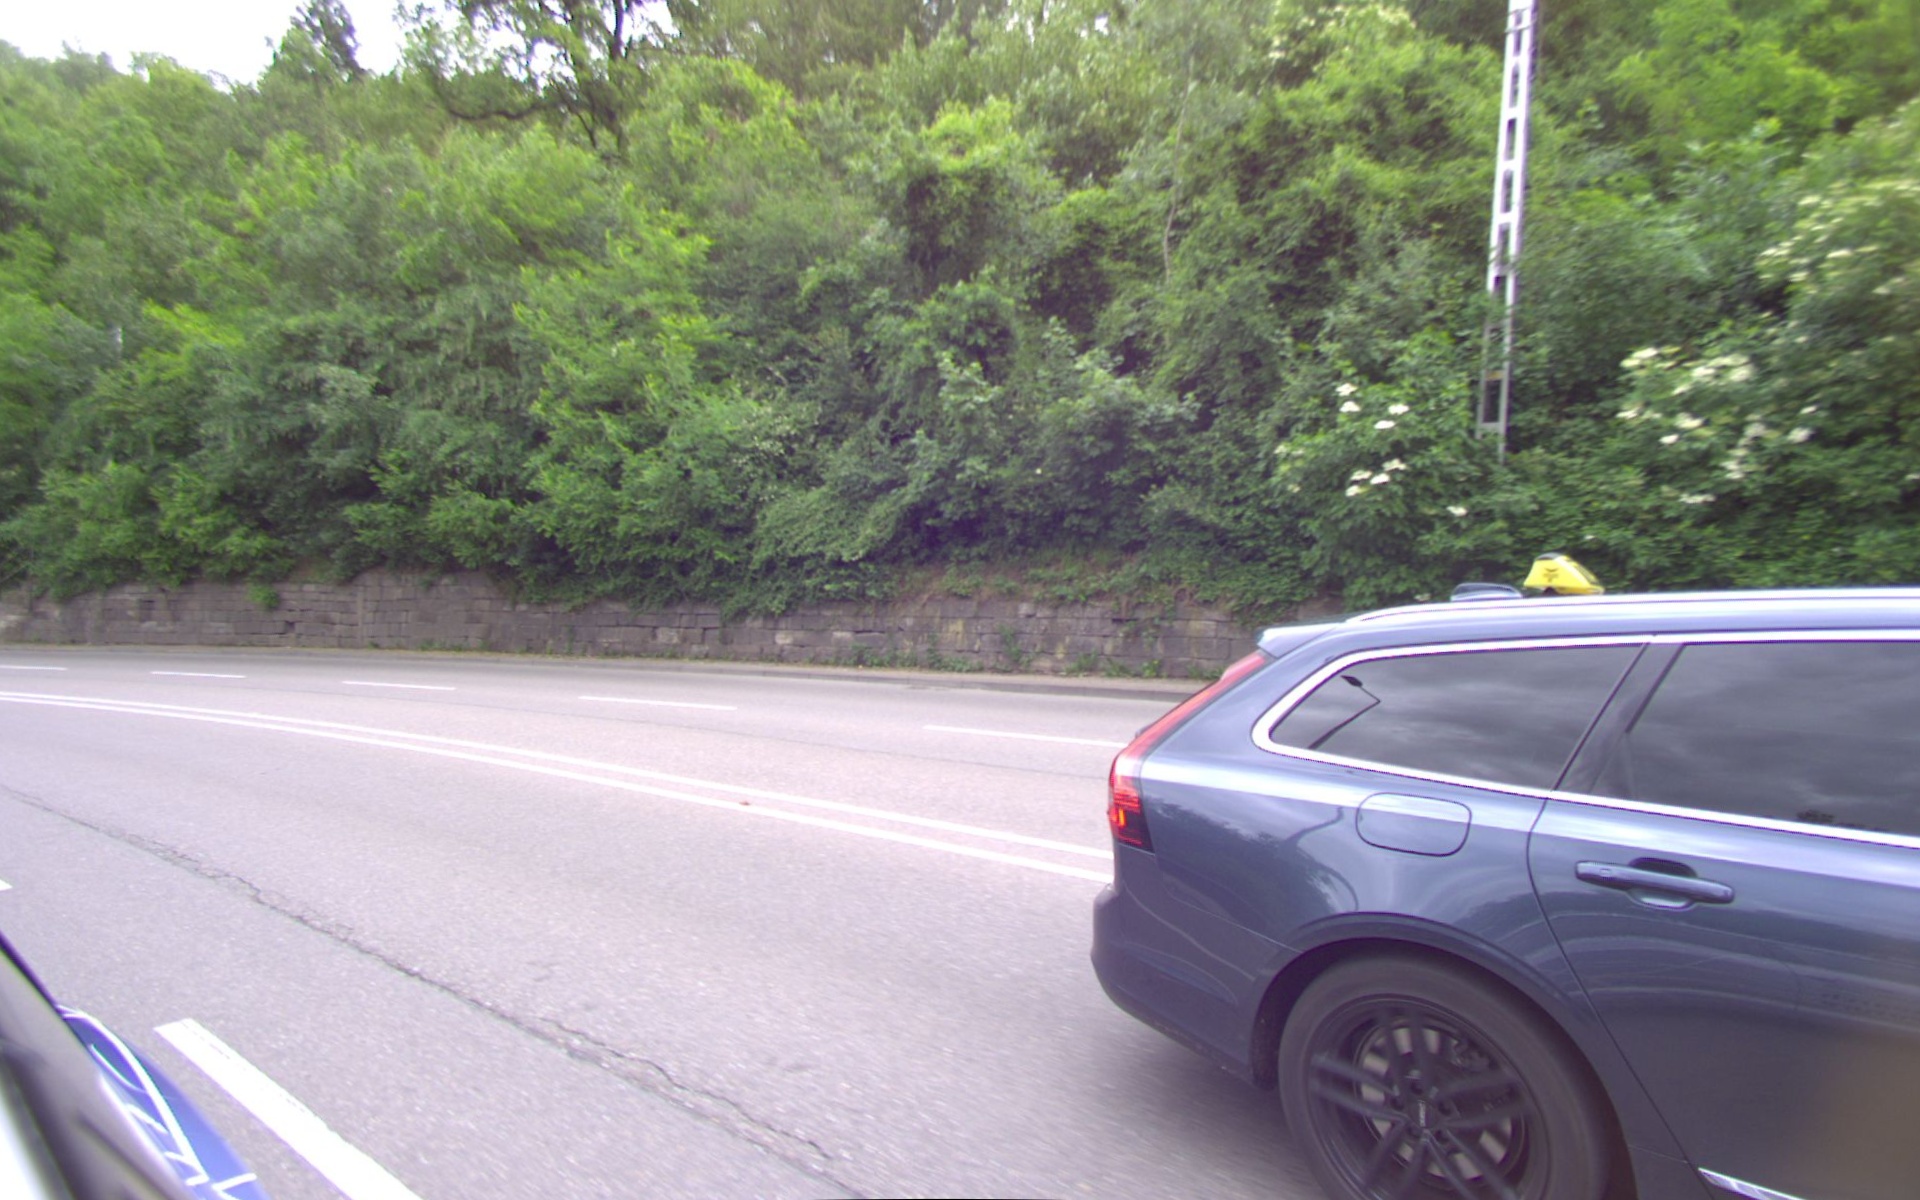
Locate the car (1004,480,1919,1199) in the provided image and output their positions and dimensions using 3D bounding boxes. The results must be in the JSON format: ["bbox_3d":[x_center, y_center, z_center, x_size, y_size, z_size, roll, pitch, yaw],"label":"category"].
[{"bbox_3d":[2.637,0.596,1.854,5.025,1.588,1.915,3,4,41],"label":"car"}]
